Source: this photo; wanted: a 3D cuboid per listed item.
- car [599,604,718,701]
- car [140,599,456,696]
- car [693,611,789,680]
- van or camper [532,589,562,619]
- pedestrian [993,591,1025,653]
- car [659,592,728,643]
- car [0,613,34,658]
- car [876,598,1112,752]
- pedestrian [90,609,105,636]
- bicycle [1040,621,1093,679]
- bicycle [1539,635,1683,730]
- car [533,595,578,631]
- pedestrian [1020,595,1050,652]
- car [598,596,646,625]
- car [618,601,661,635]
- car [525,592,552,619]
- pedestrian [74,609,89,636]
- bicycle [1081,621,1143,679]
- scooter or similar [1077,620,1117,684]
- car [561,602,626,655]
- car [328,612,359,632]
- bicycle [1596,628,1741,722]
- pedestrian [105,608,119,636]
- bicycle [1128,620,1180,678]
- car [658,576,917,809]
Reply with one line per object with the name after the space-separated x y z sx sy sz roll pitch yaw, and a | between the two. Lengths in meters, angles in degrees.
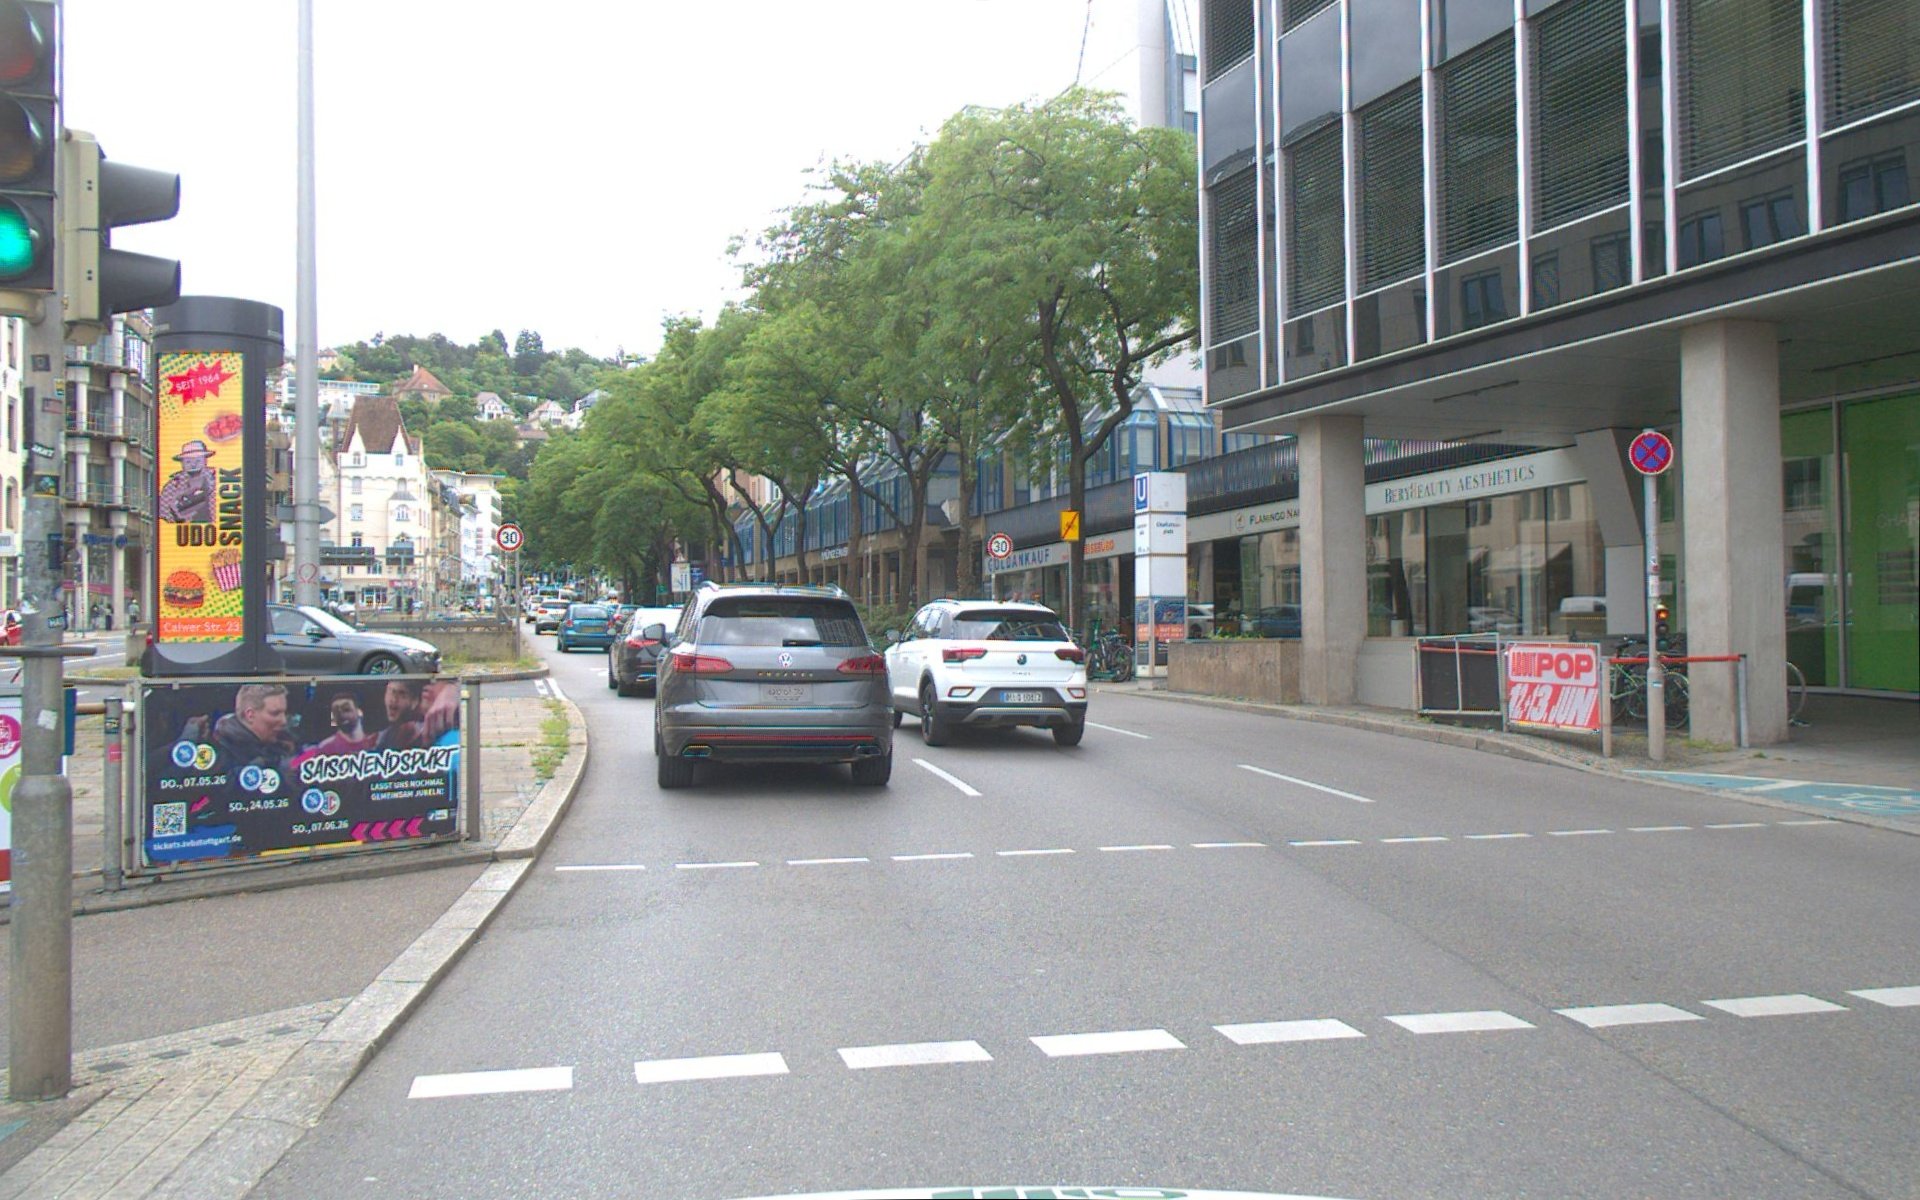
-5.044 0.826 27.726 1.800 1.420 4.137 1 1 -10 | car
-10.717 0.745 27.085 4.465 1.484 1.878 0 0 -8 | car
-5.312 1.047 39.772 1.803 1.457 4.132 1 1 -15 | car
-46.035 0.426 184.261 2.590 3.234 5.766 0 0 -21 | van or camper
1.438 0.647 48.768 0.587 1.784 0.935 -1 0 -21 | pedestrian
-8.758 0.562 54.094 1.802 1.544 3.751 -1 0 -16 | car
-31.867 1.149 54.394 1.759 1.430 3.565 0 0 -17 | car
0.270 0.780 19.188 1.767 1.572 3.921 1 0 -14 | car
-50.200 1.293 96.252 0.691 1.571 0.841 0 0 -24 | pedestrian
2.189 1.016 34.068 0.481 1.152 1.835 0 0 -16 | bicycle
7.779 0.967 19.800 0.706 1.066 1.467 0 0 -36 | bicycle
-18.987 0.598 77.525 1.804 1.594 3.748 -1 0 -18 | car
2.222 0.690 49.032 0.587 1.657 0.752 -1 0 -21 | pedestrian
-18.035 0.543 88.015 2.024 1.443 4.311 -2 0 -18 | car
-14.177 0.784 73.187 1.799 1.387 3.757 -1 0 -11 | car
-30.253 0.395 118.822 1.801 1.907 4.851 -1 0 -14 | car
-50.932 1.312 95.896 0.691 1.571 0.841 0 0 -24 | pedestrian
3.130 1.015 34.260 0.482 1.152 1.875 0 0 -21 | bicycle
2.797 1.054 33.810 0.302 1.273 0.987 0 -1 -28 | scooter or similar
-11.410 0.876 51.320 1.802 1.544 3.752 -1 0 -15 | car
-53.169 1.914 142.725 1.959 1.613 4.869 -1 -1 -13 | car
8.560 0.883 20.034 0.706 1.066 1.467 0 0 -36 | bicycle
-49.461 1.283 96.474 0.691 1.571 0.841 0 0 -24 | pedestrian
4.016 1.005 34.342 0.481 1.152 1.681 0 0 -15 | bicycle
-1.689 0.696 14.799 1.935 1.725 4.213 -1 0 -11 | car
